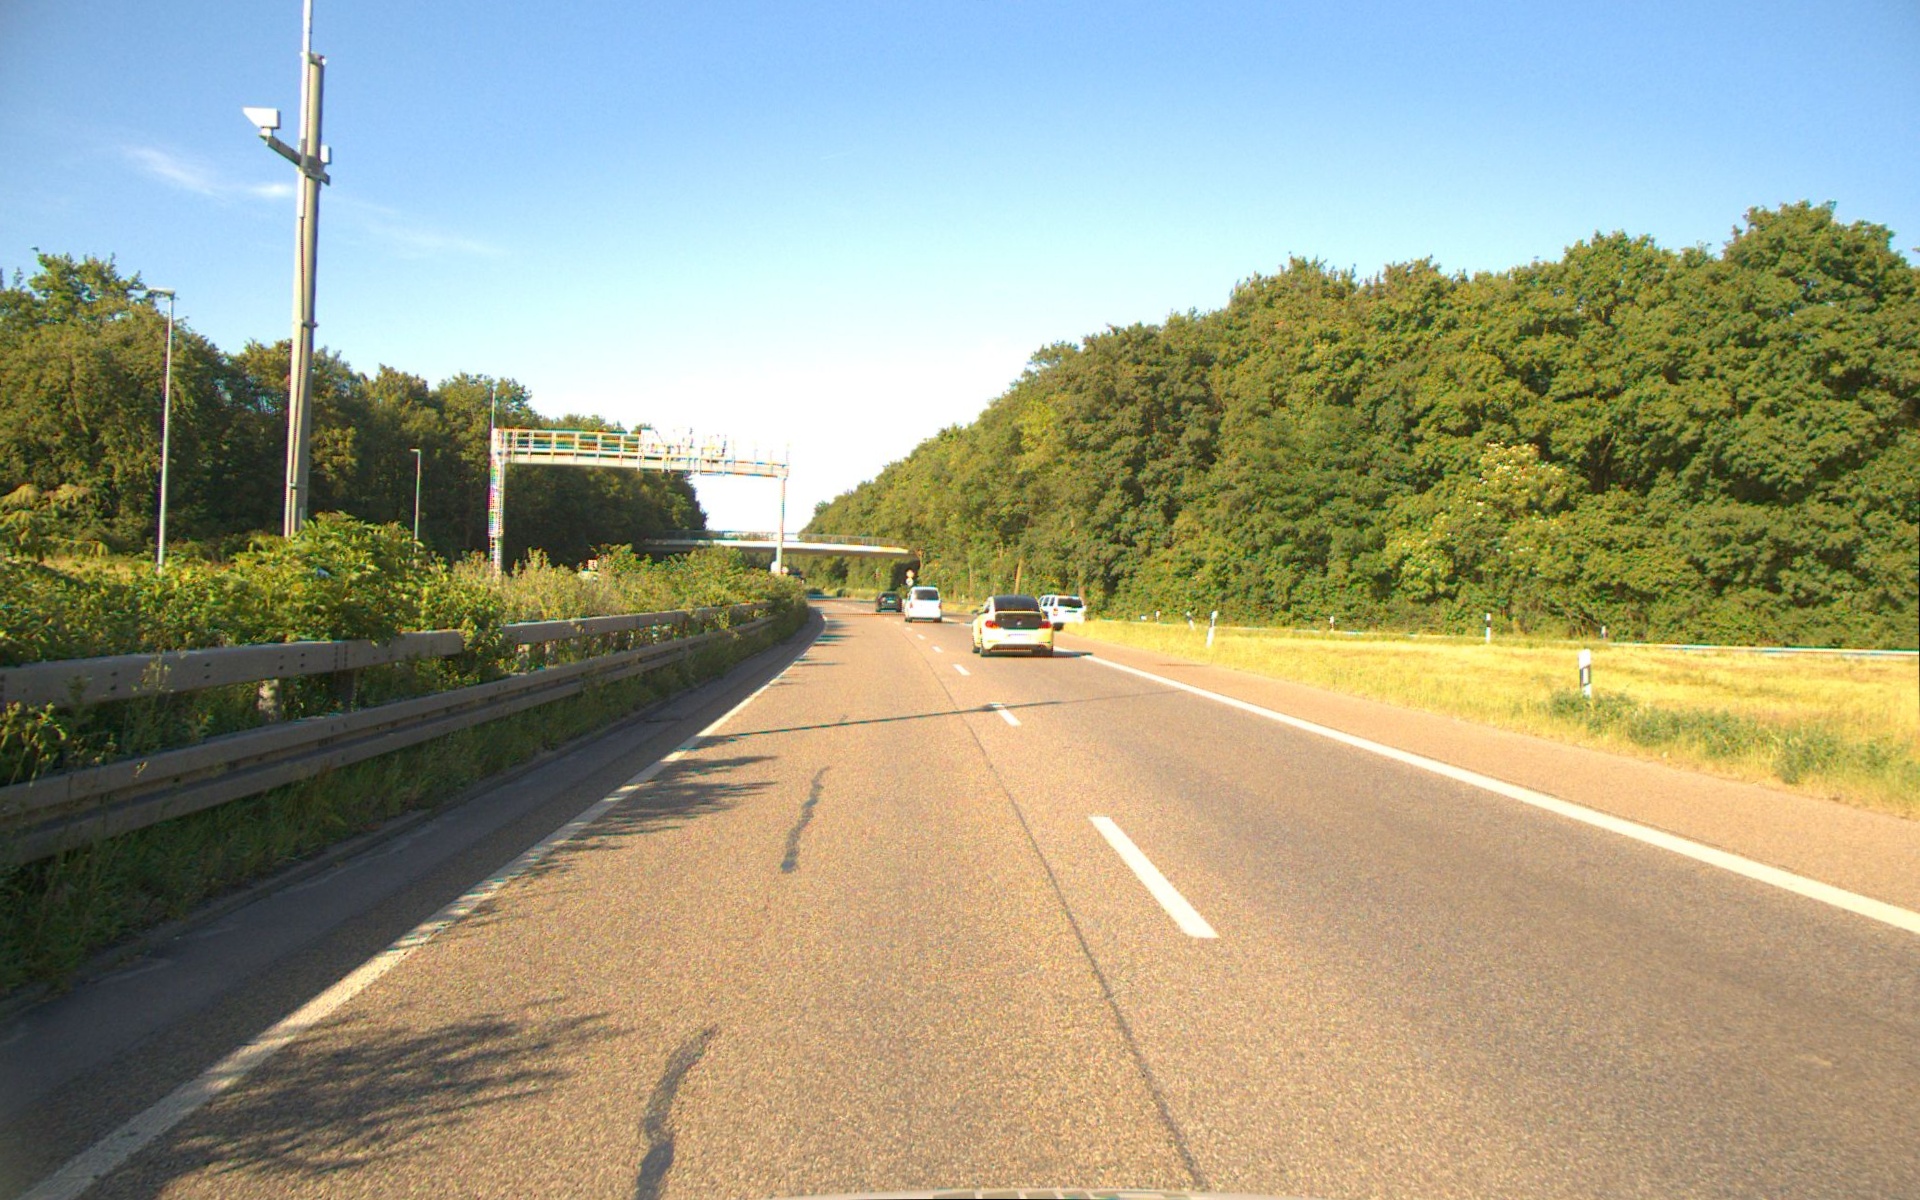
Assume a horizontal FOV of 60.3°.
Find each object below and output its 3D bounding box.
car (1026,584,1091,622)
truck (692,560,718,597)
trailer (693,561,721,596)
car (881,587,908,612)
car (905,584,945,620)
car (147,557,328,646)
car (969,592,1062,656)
[{"bbox_3d":[4.826,0.132,81.529,1.868,1.855,3.979,1,0,-18],"label":"car"},{"bbox_3d":[-30.160,-2.523,195.508,2.686,4.097,6.171,2,0,-7],"label":"truck"},{"bbox_3d":[-30.880,-2.574,201.981,2.686,4.097,14.055,2,0,-7],"label":"trailer"},{"bbox_3d":[-4.792,-0.045,120.914,1.859,1.798,3.997,1,0,-4],"label":"car"},{"bbox_3d":[-1.832,0.125,84.994,1.860,1.798,3.996,0,-1,-4],"label":"car"},{"bbox_3d":[-13.994,0.009,32.301,1.804,1.588,3.999,1,0,-1],"label":"car"},{"bbox_3d":[1.326,0.550,41.065,1.860,1.496,3.996,1,0,-4],"label":"car"}]
